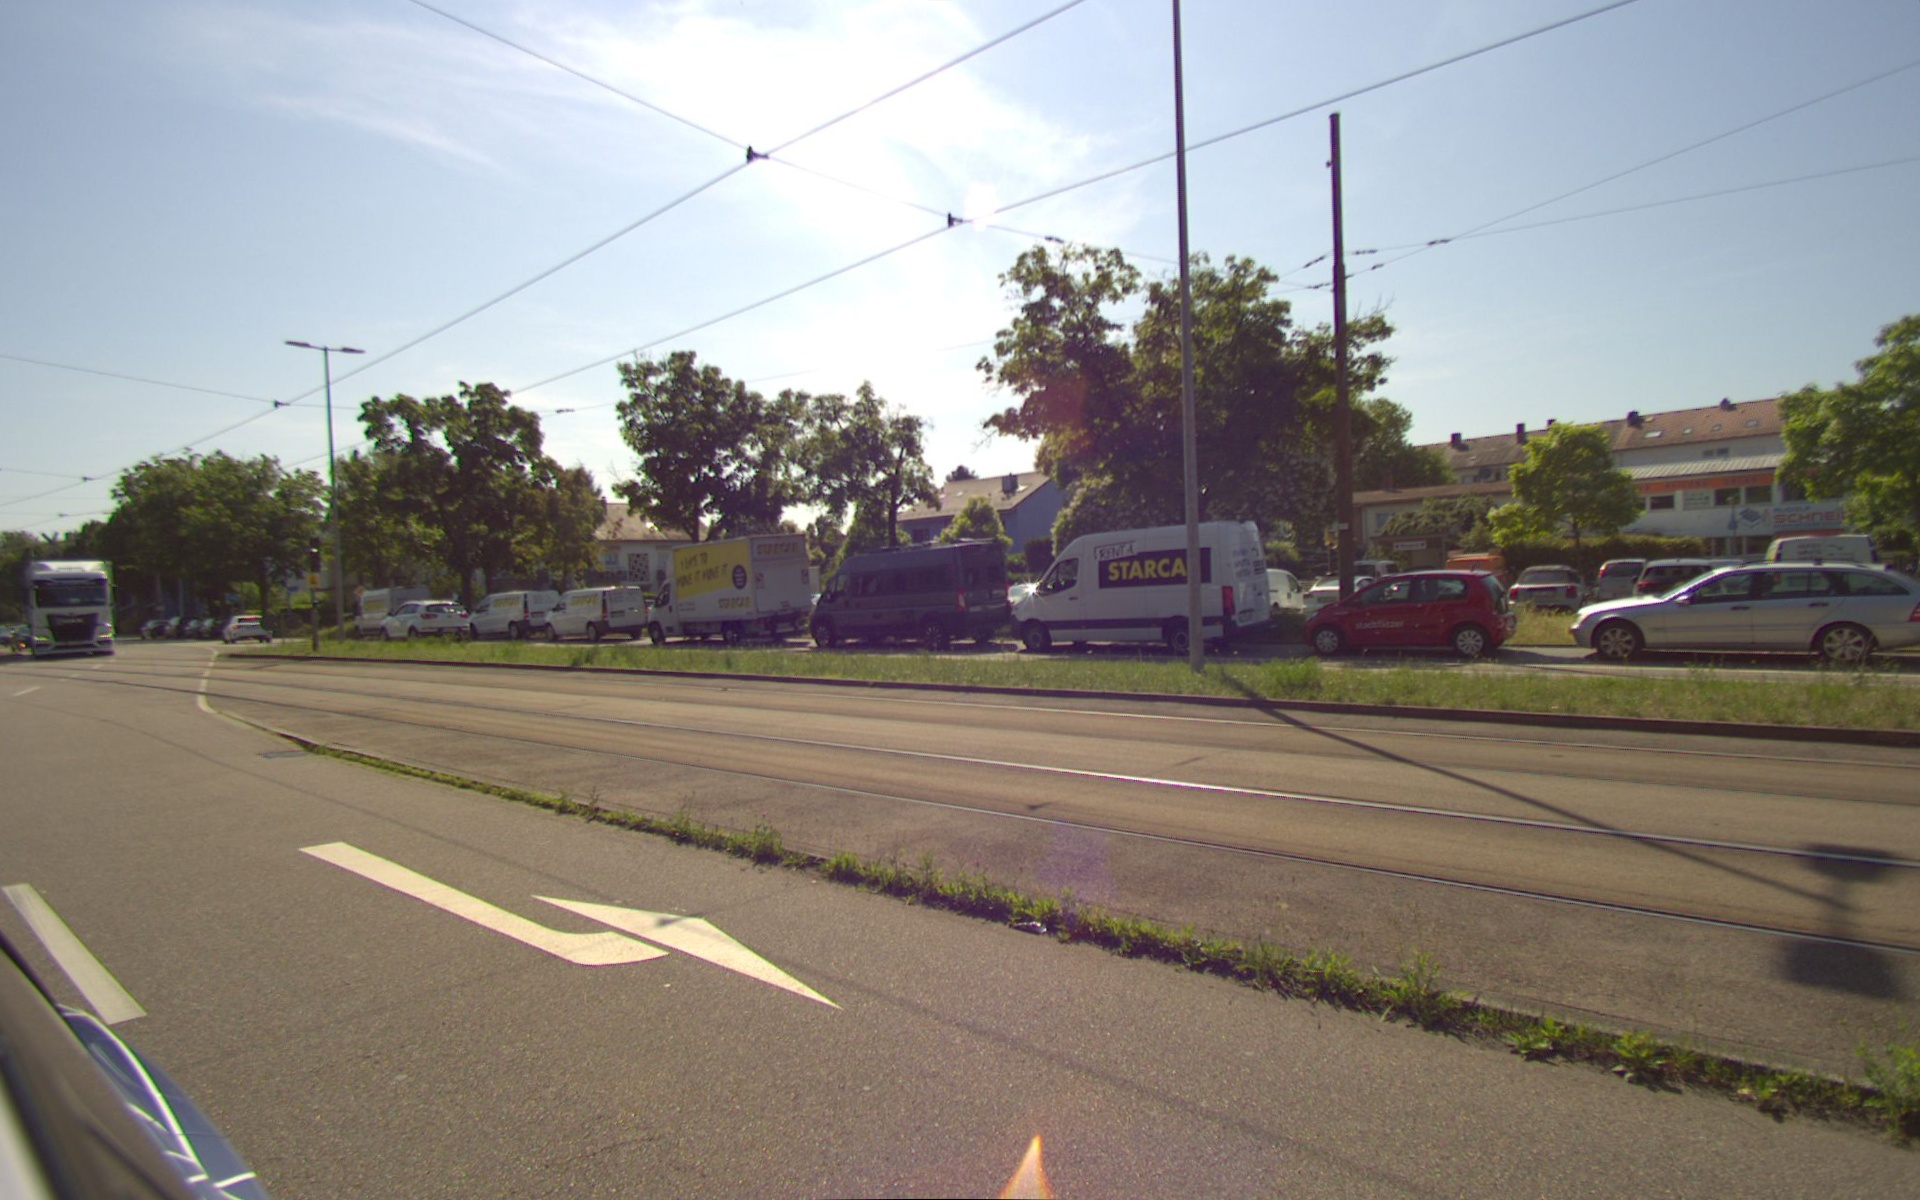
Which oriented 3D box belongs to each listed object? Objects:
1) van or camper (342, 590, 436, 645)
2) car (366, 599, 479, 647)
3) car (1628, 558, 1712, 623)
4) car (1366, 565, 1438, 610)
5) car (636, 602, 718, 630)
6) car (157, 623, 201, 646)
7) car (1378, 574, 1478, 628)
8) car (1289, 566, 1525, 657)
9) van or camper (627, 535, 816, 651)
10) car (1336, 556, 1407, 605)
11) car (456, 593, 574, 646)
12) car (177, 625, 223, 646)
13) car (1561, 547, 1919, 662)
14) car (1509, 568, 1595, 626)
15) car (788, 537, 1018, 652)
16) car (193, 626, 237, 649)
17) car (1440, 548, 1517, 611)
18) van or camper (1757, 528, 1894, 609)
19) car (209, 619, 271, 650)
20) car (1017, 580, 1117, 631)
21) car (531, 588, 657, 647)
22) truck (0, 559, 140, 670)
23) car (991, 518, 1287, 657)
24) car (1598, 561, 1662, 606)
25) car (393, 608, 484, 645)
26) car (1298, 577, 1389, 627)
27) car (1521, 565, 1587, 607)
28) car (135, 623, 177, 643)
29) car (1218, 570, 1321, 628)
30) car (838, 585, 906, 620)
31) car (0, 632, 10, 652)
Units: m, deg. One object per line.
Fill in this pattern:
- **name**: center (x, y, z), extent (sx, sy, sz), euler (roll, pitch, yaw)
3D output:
- **van or camper**: center (-28.610, 0.891, 50.592), extent (6.145, 2.533, 2.233), euler (-2, 0, 42)
- **car**: center (-19.284, 0.830, 36.218), extent (4.657, 1.609, 2.022), euler (-2, -1, 41)
- **car**: center (16.933, -0.252, 24.083), extent (1.486, 1.381, 3.951), euler (-2, 0, 37)
- **car**: center (17.836, -0.526, 40.728), extent (1.743, 1.665, 3.950), euler (-2, 0, 37)
- **car**: center (-14.705, 0.815, 52.733), extent (1.662, 1.280, 3.876), euler (-2, 0, 40)
- **car**: center (-58.861, 2.580, 76.269), extent (4.237, 1.625, 1.658), euler (-1, 1, 39)
- **car**: center (13.076, -0.009, 28.166), extent (1.658, 1.381, 3.949), euler (-2, 0, 38)
- **car**: center (8.009, 0.219, 18.291), extent (3.672, 1.501, 1.279), euler (-2, 0, 39)
- **van or camper**: center (-7.686, -0.161, 32.033), extent (6.770, 3.265, 2.173), euler (-2, 2, 42)
- **car**: center (18.201, -0.863, 44.682), extent (1.908, 2.018, 3.950), euler (-2, 0, 37)
- **car**: center (-18.679, 0.827, 42.367), extent (5.175, 1.955, 2.176), euler (-2, 2, 37)
- **car**: center (-54.654, 2.575, 72.788), extent (4.578, 1.405, 1.679), euler (-2, 0, 41)
- **car**: center (11.701, 0.094, 15.256), extent (4.348, 1.501, 1.279), euler (-2, 2, 41)
- **car**: center (15.519, -0.100, 26.431), extent (1.486, 1.381, 3.951), euler (-2, 0, 37)
- **car**: center (-1.629, -0.091, 26.663), extent (6.074, 2.688, 2.174), euler (-2, 2, 40)
- **car**: center (-51.133, 2.572, 69.411), extent (4.082, 1.461, 1.598), euler (-2, 0, 42)
- **car**: center (19.922, -0.787, 38.819), extent (1.908, 2.216, 3.950), euler (-2, 0, 37)
- **van or camper**: center (19.034, -0.662, 22.427), extent (1.872, 1.575, 3.953), euler (-2, 0, 35)
- **car**: center (-37.189, 1.773, 52.242), extent (4.336, 1.433, 1.772), euler (-2, 0, 44)
- **car**: center (3.915, 0.169, 36.540), extent (1.662, 1.707, 3.947), euler (-2, 0, 40)
- **car**: center (-13.738, 0.667, 37.838), extent (5.183, 1.955, 2.173), euler (-2, 2, 42)
- **truck**: center (-39.604, 0.600, 44.634), extent (14.289, 4.099, 3.346), euler (-1, 3, 44)
- **car**: center (3.735, -0.218, 22.039), extent (5.976, 2.650, 2.174), euler (-2, 2, 41)
- **car**: center (23.616, -0.599, 35.643), extent (1.530, 1.435, 3.809), euler (-2, 0, 38)
- **car**: center (-23.722, 1.211, 45.986), extent (4.882, 1.465, 1.912), euler (-2, 2, 41)
- **car**: center (11.439, 0.025, 30.071), extent (1.486, 1.381, 3.951), euler (-2, 0, 37)
- **car**: center (21.849, -0.543, 37.173), extent (1.530, 1.435, 3.809), euler (-2, 0, 38)
- **car**: center (-64.146, 2.665, 80.719), extent (4.452, 1.446, 1.658), euler (-2, 0, 39)
- **car**: center (9.803, -0.061, 31.861), extent (1.662, 1.707, 3.947), euler (-2, 0, 40)
- **car**: center (-5.175, 0.155, 59.795), extent (1.782, 1.905, 3.950), euler (-2, 0, 37)
- **car**: center (-66.093, 2.892, 68.873), extent (3.998, 1.264, 1.678), euler (-2, 0, 41)
